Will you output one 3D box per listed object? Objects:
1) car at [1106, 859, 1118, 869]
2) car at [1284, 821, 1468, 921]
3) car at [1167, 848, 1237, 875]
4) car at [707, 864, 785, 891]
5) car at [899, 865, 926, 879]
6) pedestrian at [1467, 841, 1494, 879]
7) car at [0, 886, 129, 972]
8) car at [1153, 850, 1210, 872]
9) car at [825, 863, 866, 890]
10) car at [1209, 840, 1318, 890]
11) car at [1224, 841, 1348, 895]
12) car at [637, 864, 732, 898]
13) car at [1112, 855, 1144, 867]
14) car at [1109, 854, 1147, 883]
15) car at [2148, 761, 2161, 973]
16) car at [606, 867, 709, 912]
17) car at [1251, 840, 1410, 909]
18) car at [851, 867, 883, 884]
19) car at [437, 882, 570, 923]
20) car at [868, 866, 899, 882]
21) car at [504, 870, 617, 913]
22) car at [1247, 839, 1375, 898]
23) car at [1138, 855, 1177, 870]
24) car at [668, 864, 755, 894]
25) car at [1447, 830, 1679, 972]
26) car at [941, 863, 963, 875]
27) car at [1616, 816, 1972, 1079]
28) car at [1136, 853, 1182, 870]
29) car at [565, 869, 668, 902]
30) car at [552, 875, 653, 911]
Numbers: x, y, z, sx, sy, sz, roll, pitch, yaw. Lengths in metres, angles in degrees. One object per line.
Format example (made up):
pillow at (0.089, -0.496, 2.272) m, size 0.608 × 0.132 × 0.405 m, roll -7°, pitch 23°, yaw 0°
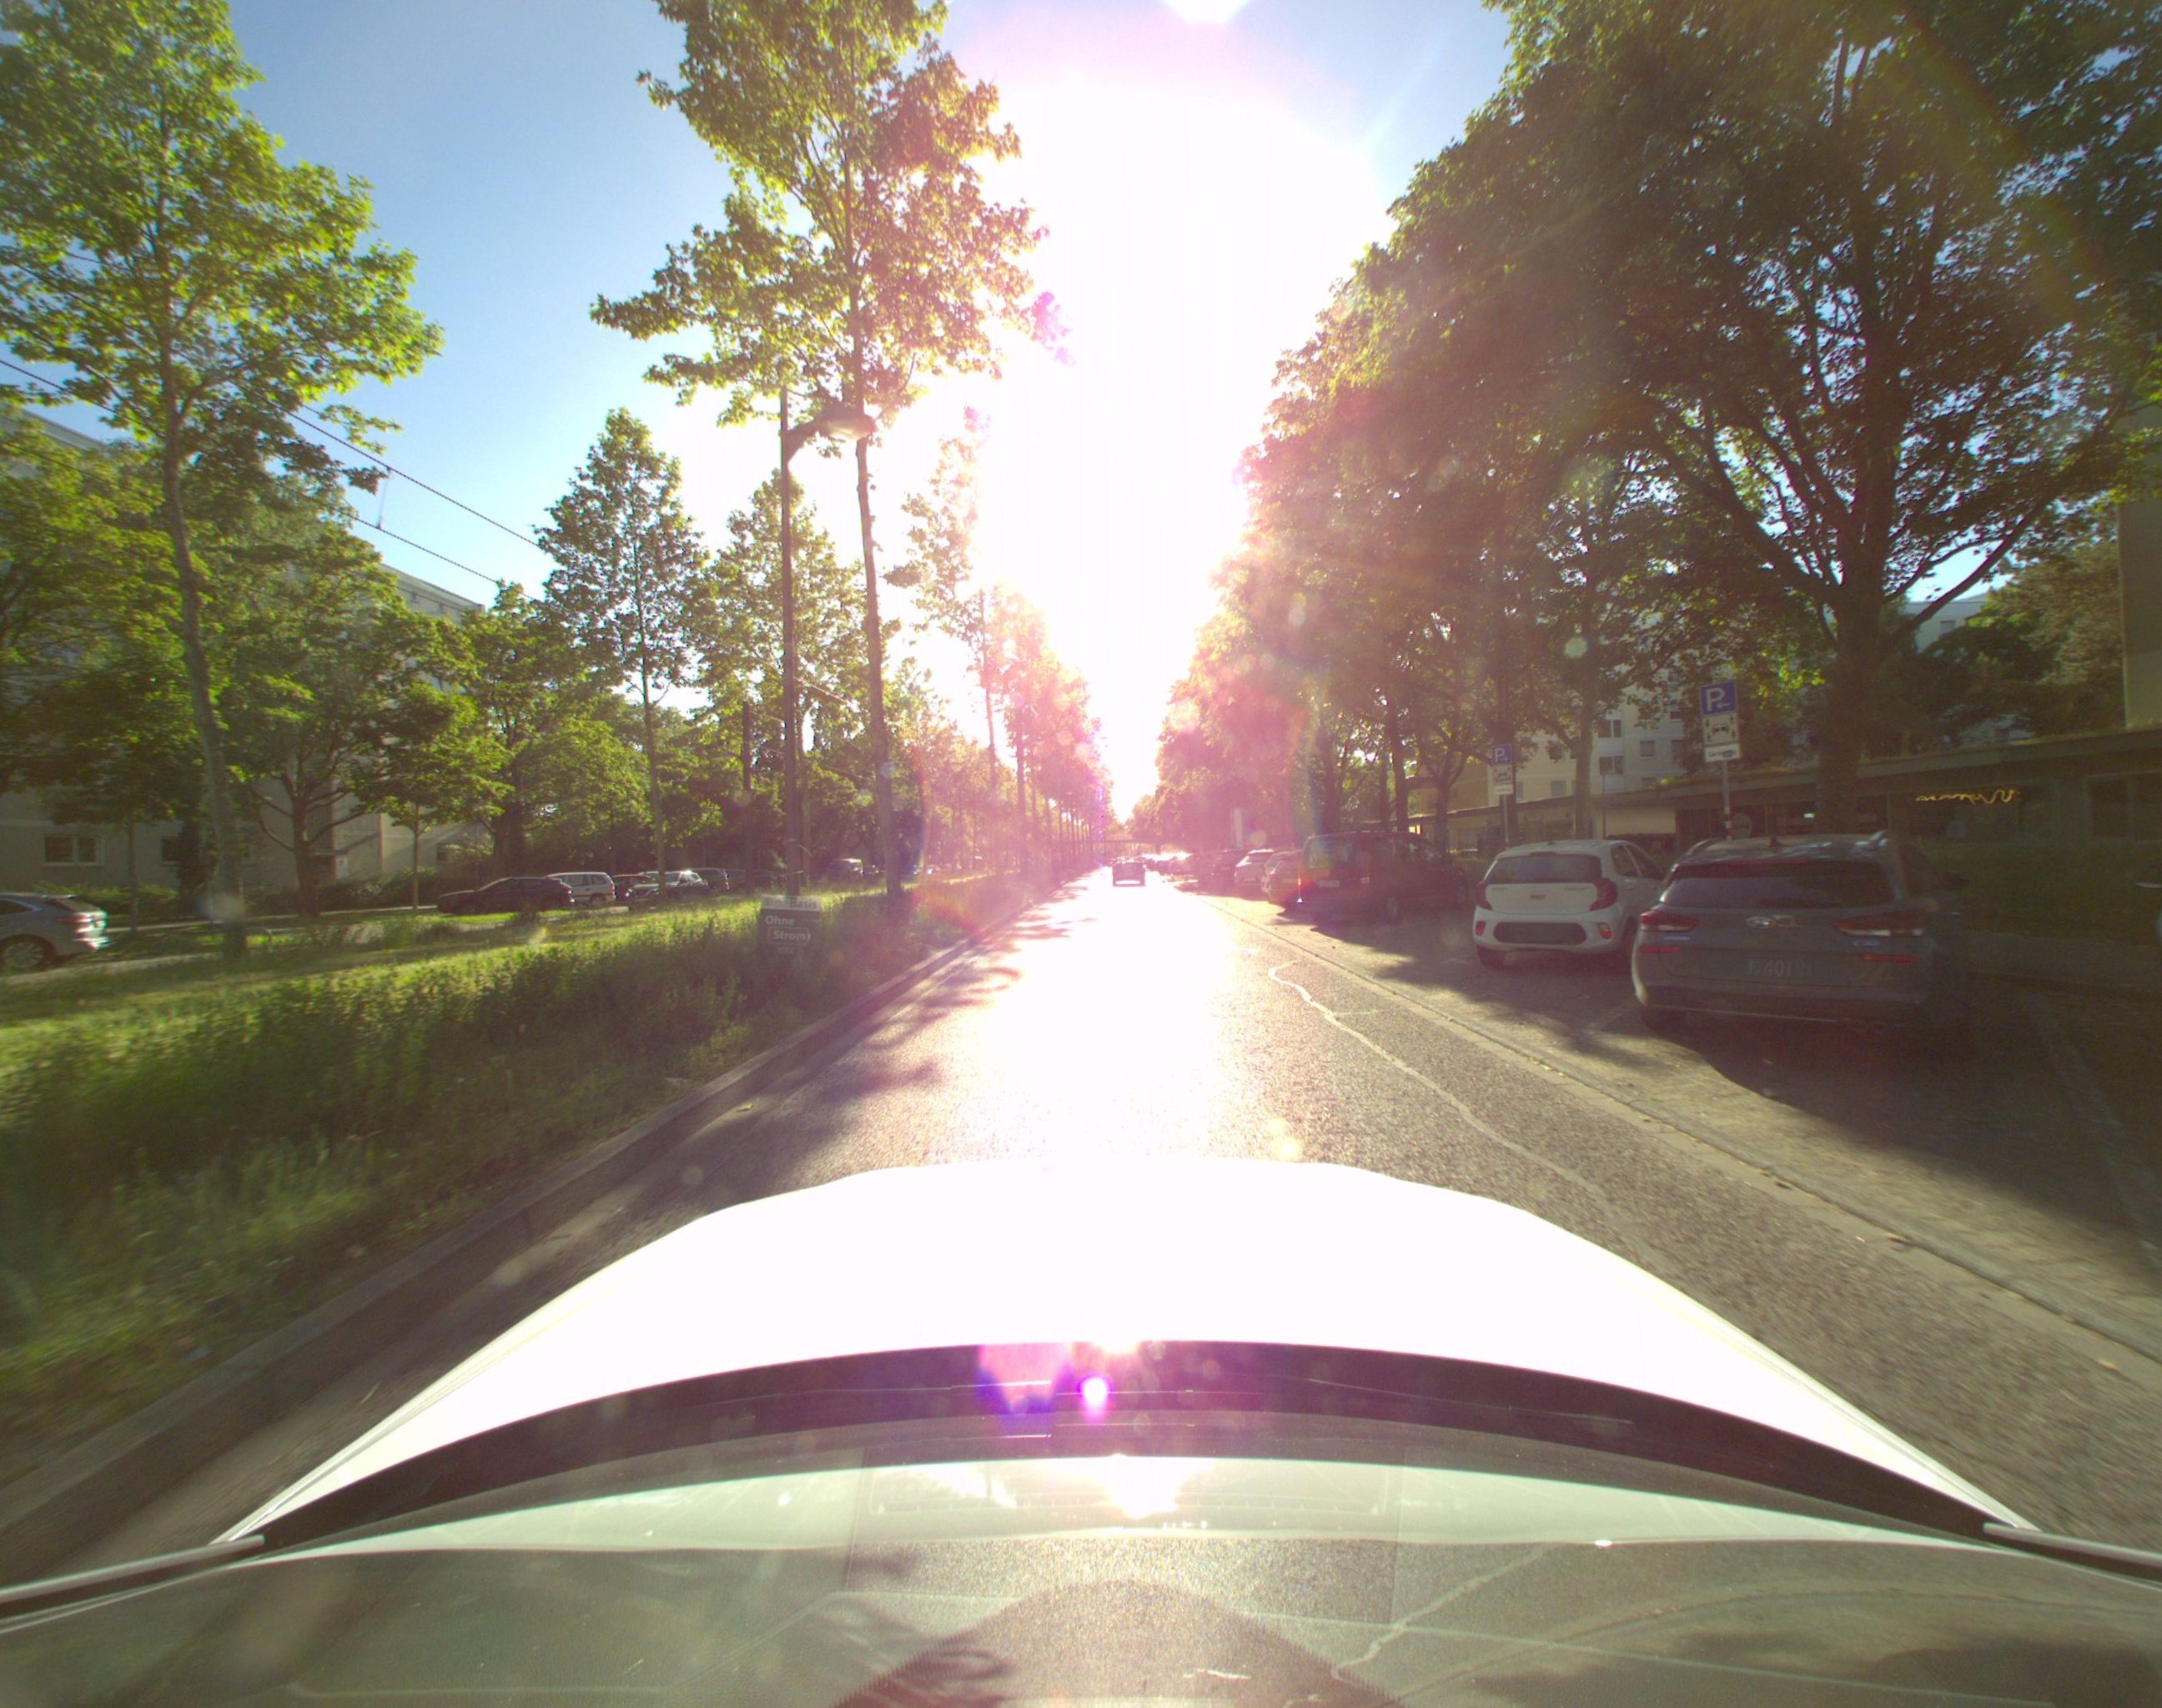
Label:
car at (5.131, 1.558, 133.907) m, size 1.842 × 1.535 × 3.869 m, roll -2°, pitch 0°, yaw 2°
car at (6.253, 0.295, 17.059) m, size 4.105 × 1.811 × 1.632 m, roll -3°, pitch 0°, yaw -38°
car at (7.633, 0.478, 51.137) m, size 4.519 × 1.443 × 1.834 m, roll -3°, pitch 0°, yaw -42°
car at (-22.362, 1.576, 54.446) m, size 4.511 × 1.568 × 1.774 m, roll -2°, pitch -1°, yaw -41°
car at (-18.783, 1.986, 90.901) m, size 1.985 × 1.453 × 4.004 m, roll 1°, pitch 0°, yaw 4°
pedestrian at (20.806, 0.328, 42.467) m, size 0.871 × 1.914 × 0.869 m, roll -2°, pitch 0°, yaw -7°
car at (-23.171, 1.616, 16.845) m, size 4.103 × 1.607 × 1.974 m, roll -2°, pitch 1°, yaw -35°
car at (7.643, 0.554, 61.951) m, size 4.353 × 1.424 × 1.834 m, roll -3°, pitch 0°, yaw -42°
car at (-19.688, 1.855, 68.328) m, size 1.638 × 2.093 × 4.919 m, roll 1°, pitch 0°, yaw 4°
car at (7.045, 0.384, 31.250) m, size 4.341 × 1.717 × 1.617 m, roll -2°, pitch 0°, yaw -37°
car at (7.097, 0.460, 28.054) m, size 4.101 × 1.582 × 1.763 m, roll -3°, pitch 0°, yaw -33°
car at (-22.530, 1.508, 46.398) m, size 4.511 × 1.675 × 1.774 m, roll -2°, pitch -1°, yaw -41°
car at (6.926, 1.036, 119.136) m, size 4.649 × 1.769 × 1.835 m, roll -1°, pitch -1°, yaw -41°
car at (2.533, 0.750, 44.007) m, size 1.914 × 1.411 × 4.003 m, roll -1°, pitch 0°, yaw 3°
car at (6.184, 0.315, 3.481) m, size 4.049 × 1.705 × 1.740 m, roll -3°, pitch 0°, yaw -39°
car at (-17.389, 1.419, 33.693) m, size 1.916 × 1.506 × 4.087 m, roll -5°, pitch 0°, yaw 2°
car at (6.446, 0.491, 20.891) m, size 4.102 × 1.481 × 1.633 m, roll -3°, pitch 0°, yaw -34°
car at (-19.528, 1.970, 74.448) m, size 1.638 × 1.453 × 3.667 m, roll 1°, pitch 0°, yaw 4°
car at (-23.065, 1.893, 32.603) m, size 4.154 × 1.337 × 1.774 m, roll -2°, pitch 0°, yaw -41°
car at (-19.181, 1.973, 79.220) m, size 1.864 × 1.453 × 3.578 m, roll 1°, pitch 0°, yaw 4°
car at (-23.089, 1.617, 36.221) m, size 4.000 × 1.675 × 1.766 m, roll -2°, pitch -1°, yaw -41°
car at (7.151, 0.418, 25.097) m, size 4.107 × 1.582 × 1.760 m, roll -3°, pitch 0°, yaw -41°
car at (8.972, 0.953, 95.858) m, size 4.649 × 1.680 × 1.835 m, roll -1°, pitch -1°, yaw -41°
car at (-22.618, 1.519, 49.959) m, size 4.511 × 1.568 × 1.774 m, roll -2°, pitch -1°, yaw -41°
car at (6.292, 0.494, 10.469) m, size 3.649 × 1.448 × 1.631 m, roll -3°, pitch 0°, yaw -45°
car at (-17.391, 1.995, 109.831) m, size 1.985 × 1.590 × 4.172 m, roll 1°, pitch 0°, yaw 4°
car at (5.844, 0.504, 6.512) m, size 3.808 × 1.470 × 1.631 m, roll -3°, pitch 0°, yaw -42°
car at (7.743, 0.754, 80.611) m, size 4.651 × 1.459 × 1.955 m, roll -2°, pitch -1°, yaw -44°
car at (-24.160, 1.624, 42.424) m, size 4.505 × 1.481 × 1.600 m, roll -2°, pitch -1°, yaw -35°
car at (-23.237, 1.860, 39.580) m, size 3.942 × 1.487 × 1.774 m, roll -2°, pitch -1°, yaw -41°
